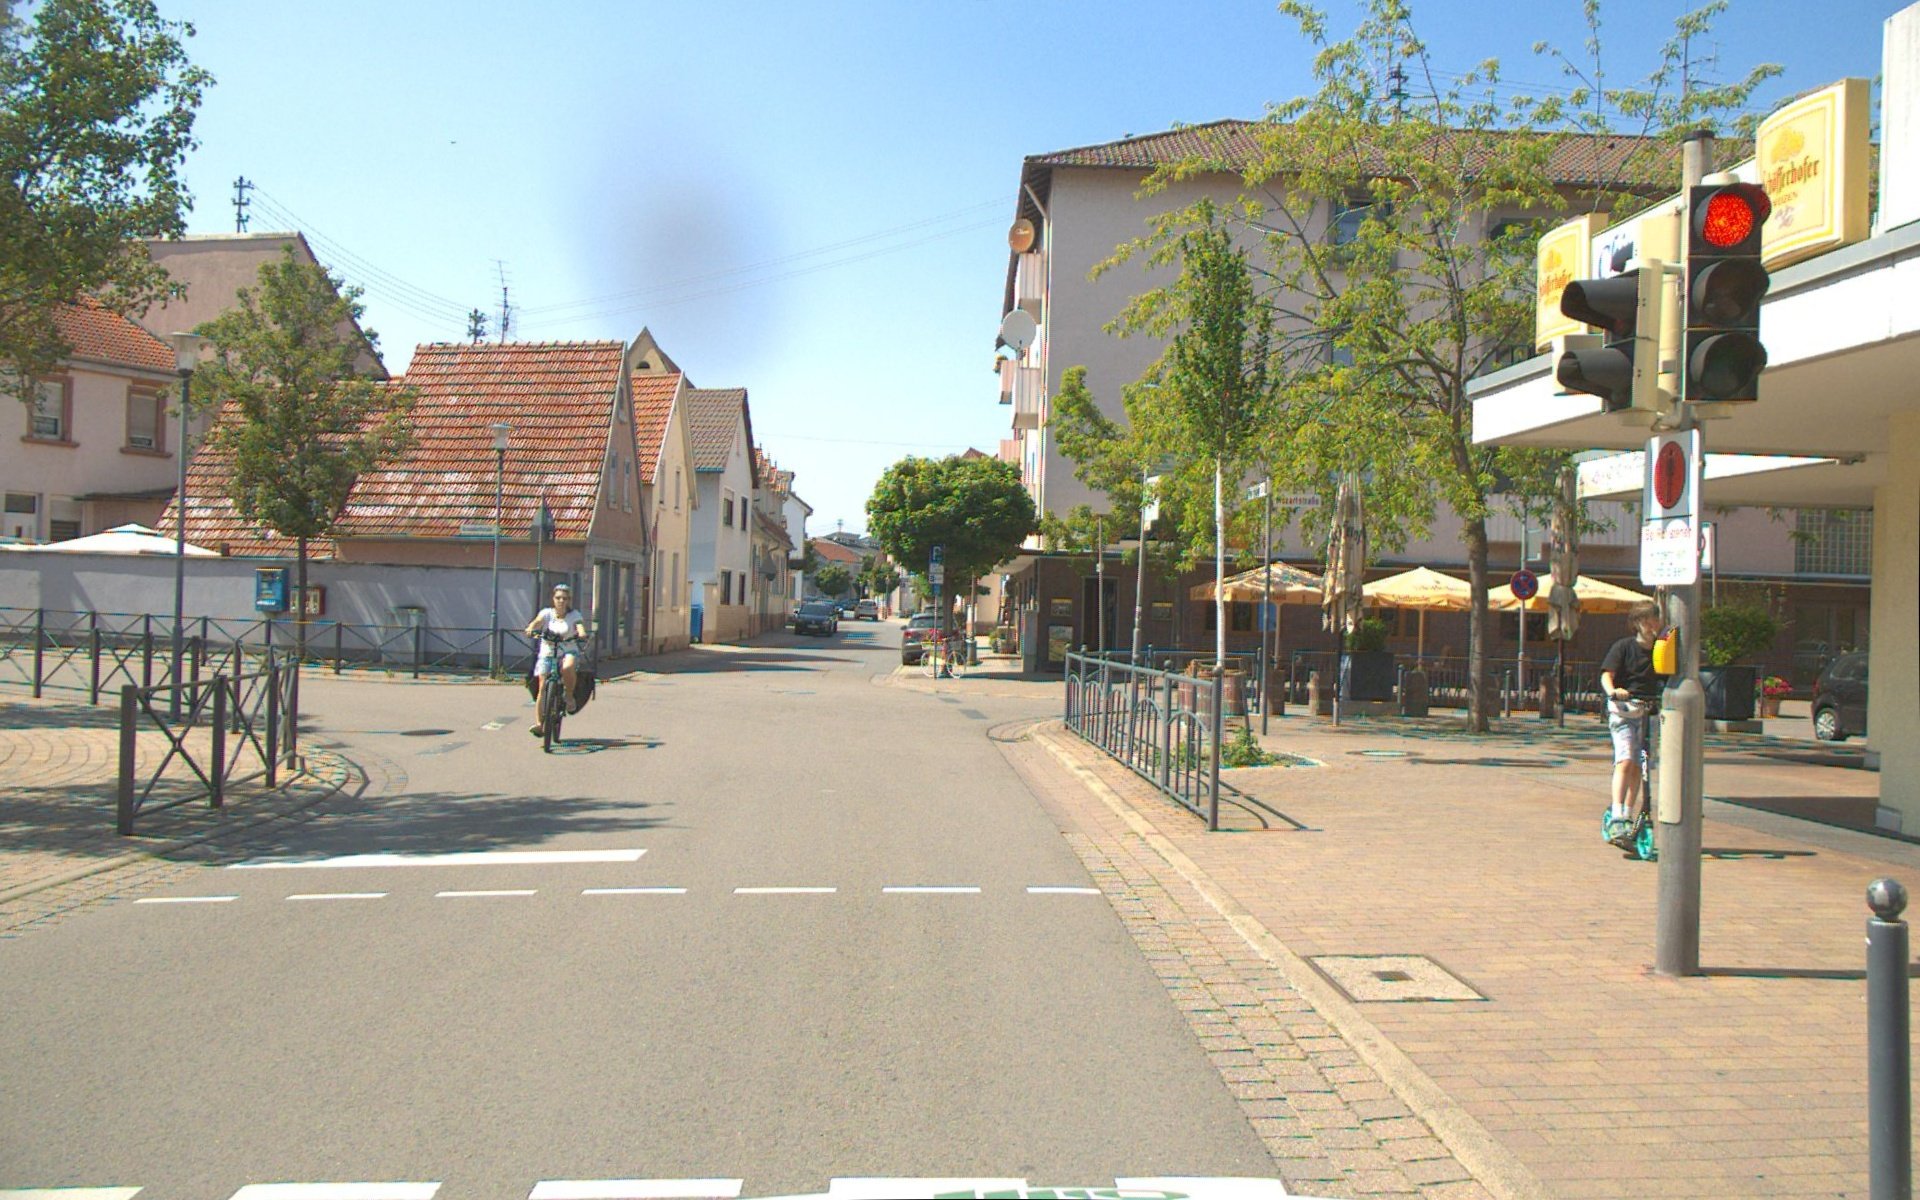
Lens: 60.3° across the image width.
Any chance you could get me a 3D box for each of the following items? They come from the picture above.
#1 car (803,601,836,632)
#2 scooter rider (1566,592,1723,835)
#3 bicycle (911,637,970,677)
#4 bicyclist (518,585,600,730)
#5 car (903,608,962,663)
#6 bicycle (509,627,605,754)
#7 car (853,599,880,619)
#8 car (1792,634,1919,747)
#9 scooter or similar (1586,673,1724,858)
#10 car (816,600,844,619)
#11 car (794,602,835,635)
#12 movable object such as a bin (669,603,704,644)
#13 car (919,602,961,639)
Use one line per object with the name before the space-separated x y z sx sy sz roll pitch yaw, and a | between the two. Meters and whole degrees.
car | -7.166 0.832 84.619 1.630 1.502 3.447 1 0 -5
scooter rider | 4.036 0.638 9.815 0.452 1.348 1.133 1 0 0
bicycle | -0.459 1.320 38.541 1.386 0.913 0.463 0 0 36
bicyclist | -4.357 0.613 18.003 0.700 1.533 0.870 1 -1 -4
car | -0.744 0.990 47.160 1.543 1.479 3.486 1 -1 1
bicycle | -4.382 0.951 18.093 0.694 1.274 1.970 -1 0 -4
car | -7.732 0.722 136.957 1.988 1.626 4.502 1 0 -7
car | 14.060 1.308 23.890 1.733 1.536 3.965 2 -1 -7
scooter or similar | 4.045 0.943 9.674 0.402 0.982 0.960 1 0 1
car | -10.895 0.811 138.271 1.874 1.507 4.832 1 -1 -10
car | -6.844 0.842 78.070 1.629 1.502 4.133 1 0 -1
movable object such as a bin | -9.366 0.809 56.612 1.078 1.389 0.390 1 -1 3
car | -0.979 0.997 81.024 2.001 1.718 4.840 1 0 -1
